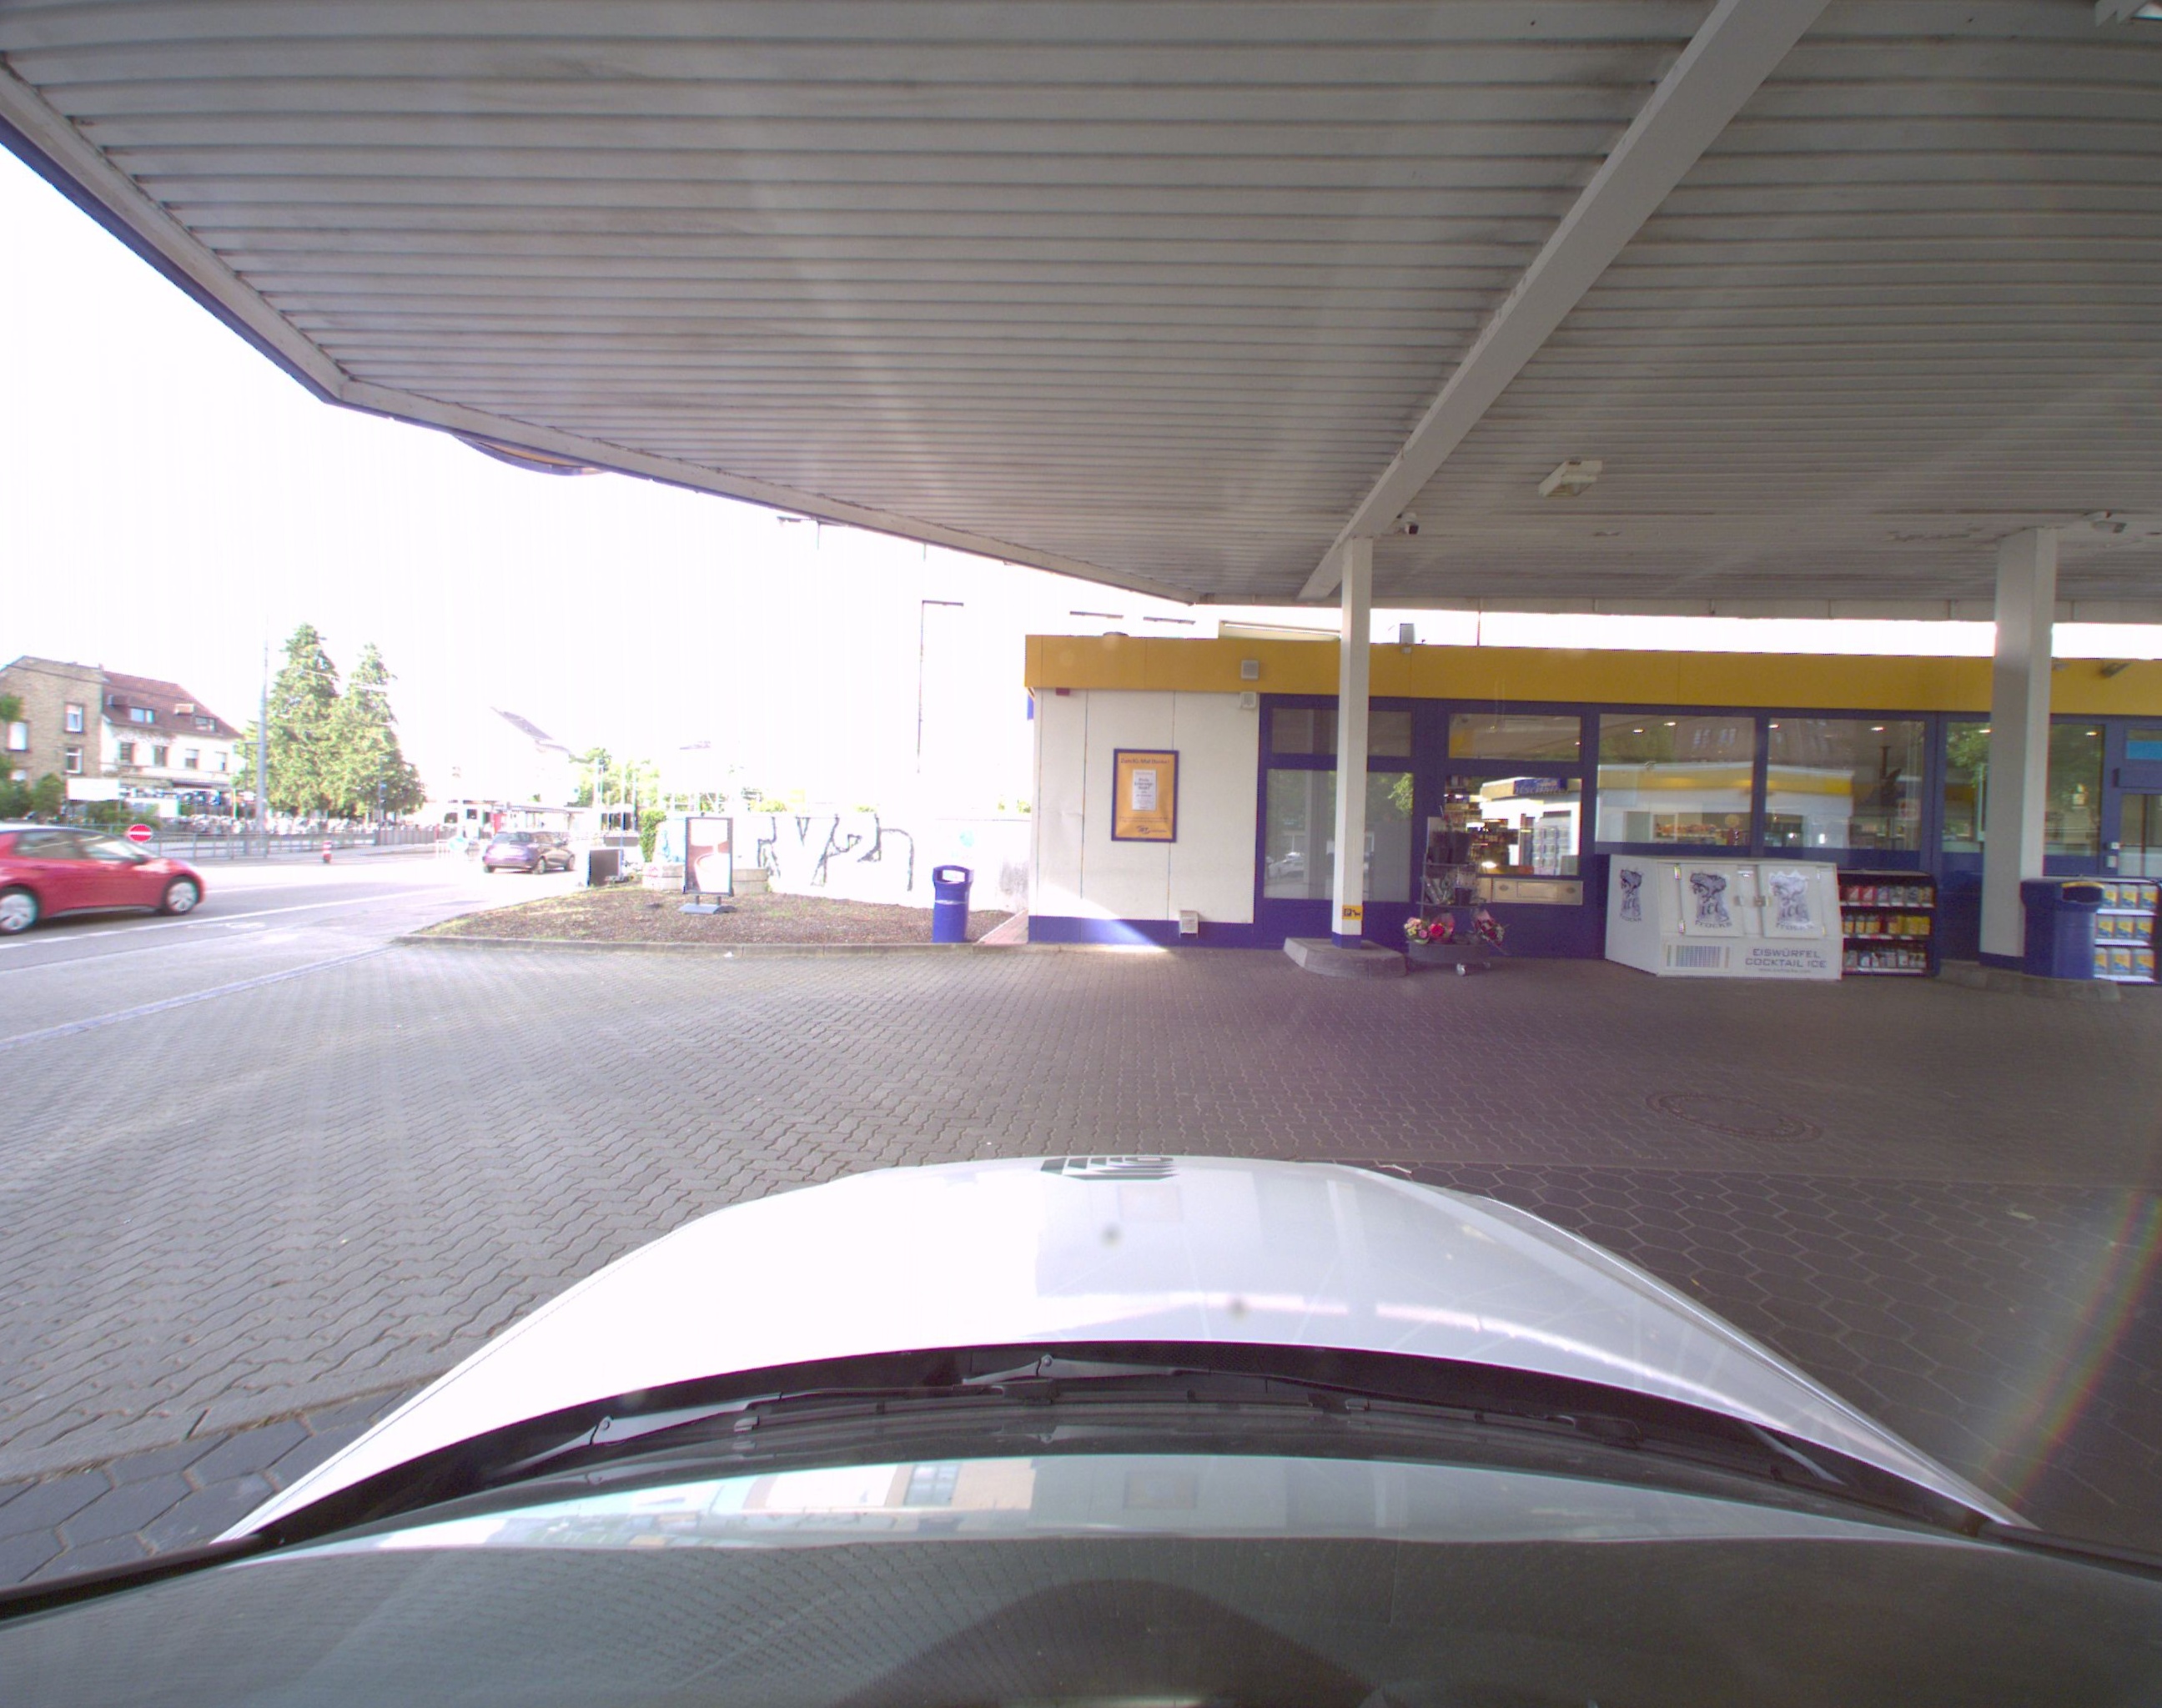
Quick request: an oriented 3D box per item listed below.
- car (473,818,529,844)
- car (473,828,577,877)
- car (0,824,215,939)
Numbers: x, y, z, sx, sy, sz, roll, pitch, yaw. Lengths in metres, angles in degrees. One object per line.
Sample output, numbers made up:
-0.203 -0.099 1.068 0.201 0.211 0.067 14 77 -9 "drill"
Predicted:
-44.839 -1.754 63.109 1.964 1.889 4.392 1 0 -13 "car"
-19.458 -0.104 28.695 1.728 1.542 3.981 2 1 -15 "car"
-16.063 0.344 12.487 1.766 1.543 4.113 2 0 -13 "car"
